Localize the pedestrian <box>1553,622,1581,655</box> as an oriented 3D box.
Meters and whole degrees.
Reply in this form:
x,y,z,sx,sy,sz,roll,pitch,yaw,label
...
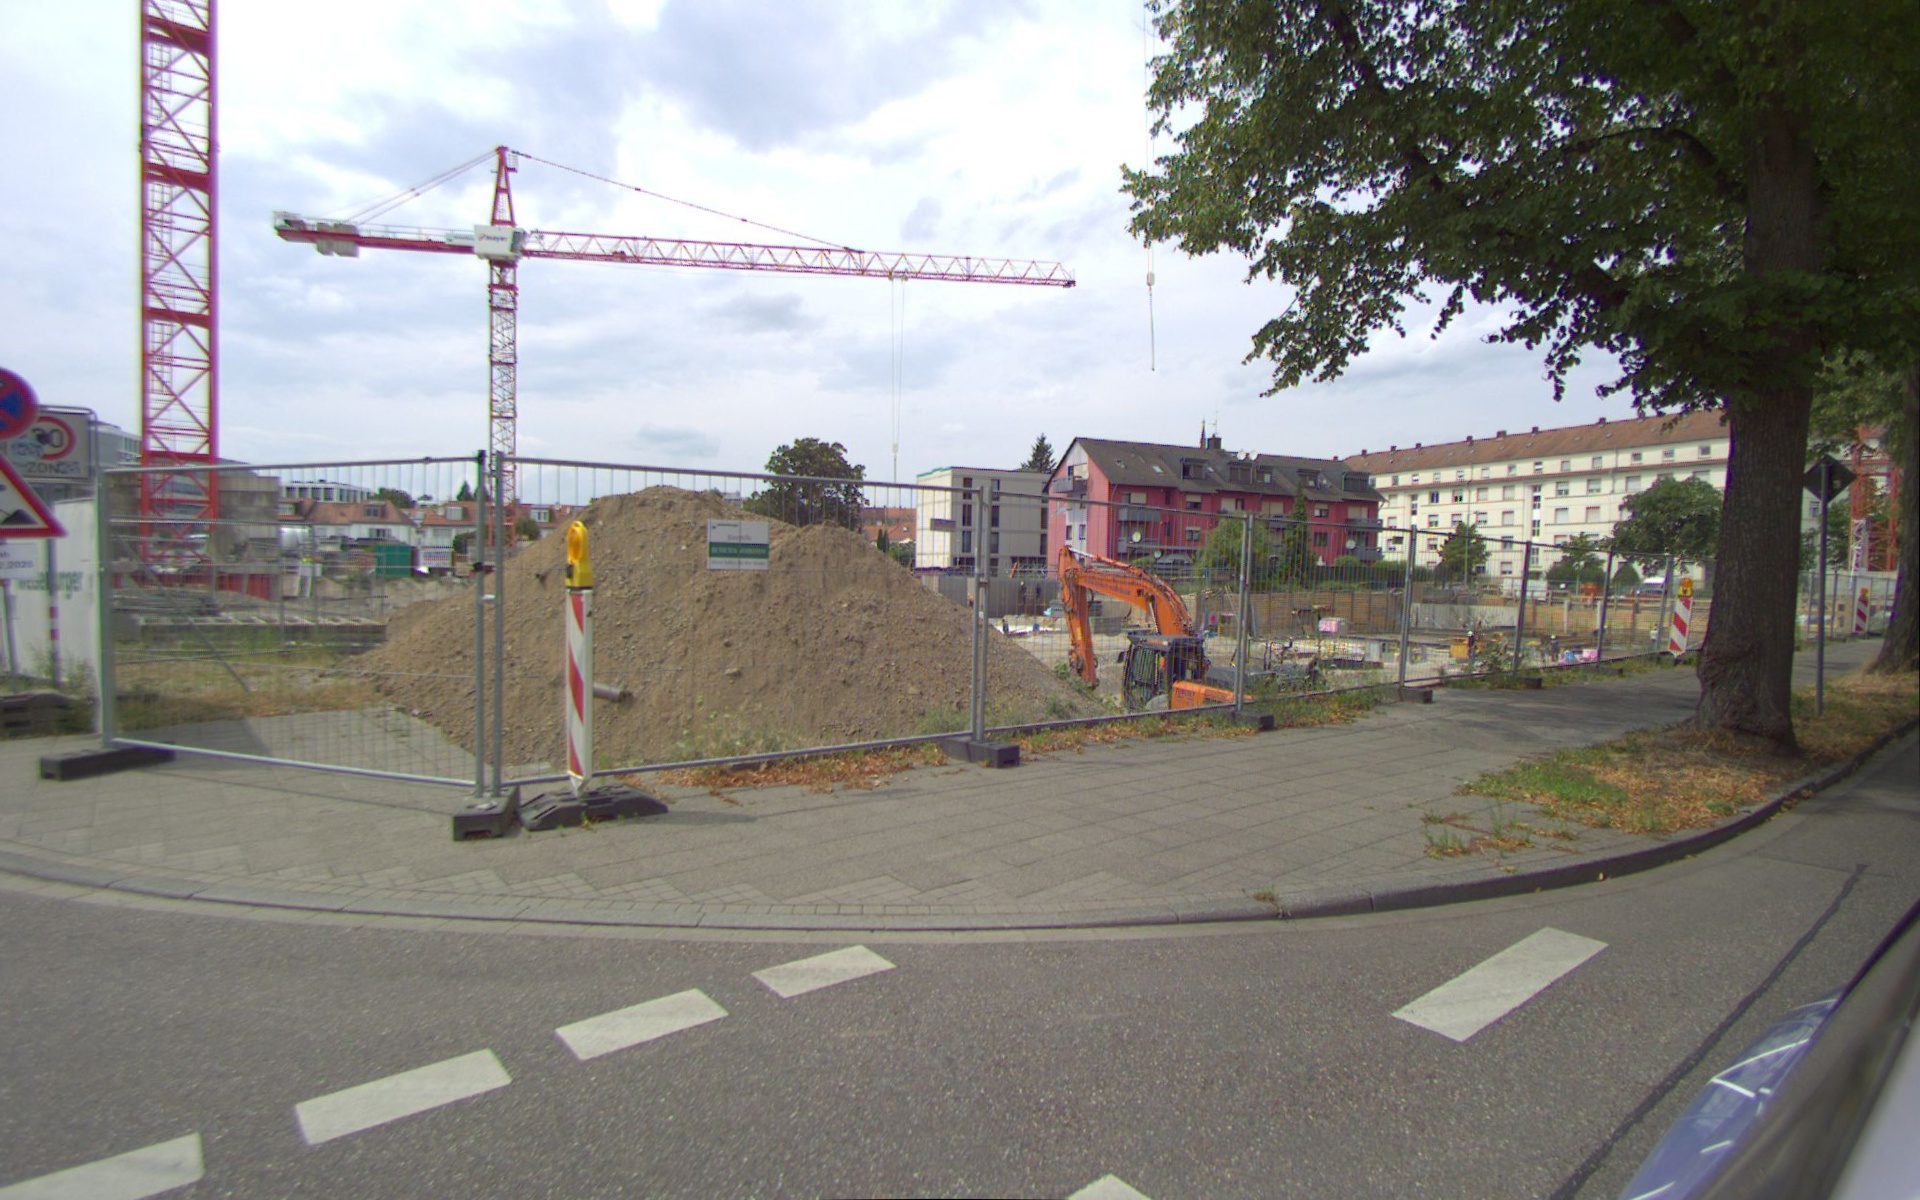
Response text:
x,y,z,sx,sy,sz,roll,pitch,yaw,label
33.805,2.135,56.375,0.965,1.743,0.845,2,3,2,pedestrian

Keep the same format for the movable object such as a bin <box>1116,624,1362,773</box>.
x,y,z,sx,sy,sz,roll,pitch,yaw,label
6.273,2.076,23.412,3.068,2.621,4.709,1,3,-26,movable object such as a bin

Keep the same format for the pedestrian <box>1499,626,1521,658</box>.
x,y,z,sx,sy,sz,roll,pitch,yaw,label
31.358,2.381,57.660,0.707,1.743,0.845,2,3,2,pedestrian

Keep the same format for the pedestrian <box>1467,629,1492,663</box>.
x,y,z,sx,sy,sz,roll,pitch,yaw,label
28.062,2.468,54.696,0.828,1.743,0.722,2,3,-6,pedestrian

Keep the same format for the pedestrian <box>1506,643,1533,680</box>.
x,y,z,sx,sy,sz,roll,pitch,yaw,label
27.744,3.044,50.189,0.705,1.743,0.847,1,3,-24,pedestrian

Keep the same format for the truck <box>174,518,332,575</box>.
x,y,z,sx,sy,sz,roll,pitch,yaw,label
-56.154,-4.260,80.800,10.060,4.182,3.357,0,3,-29,truck
